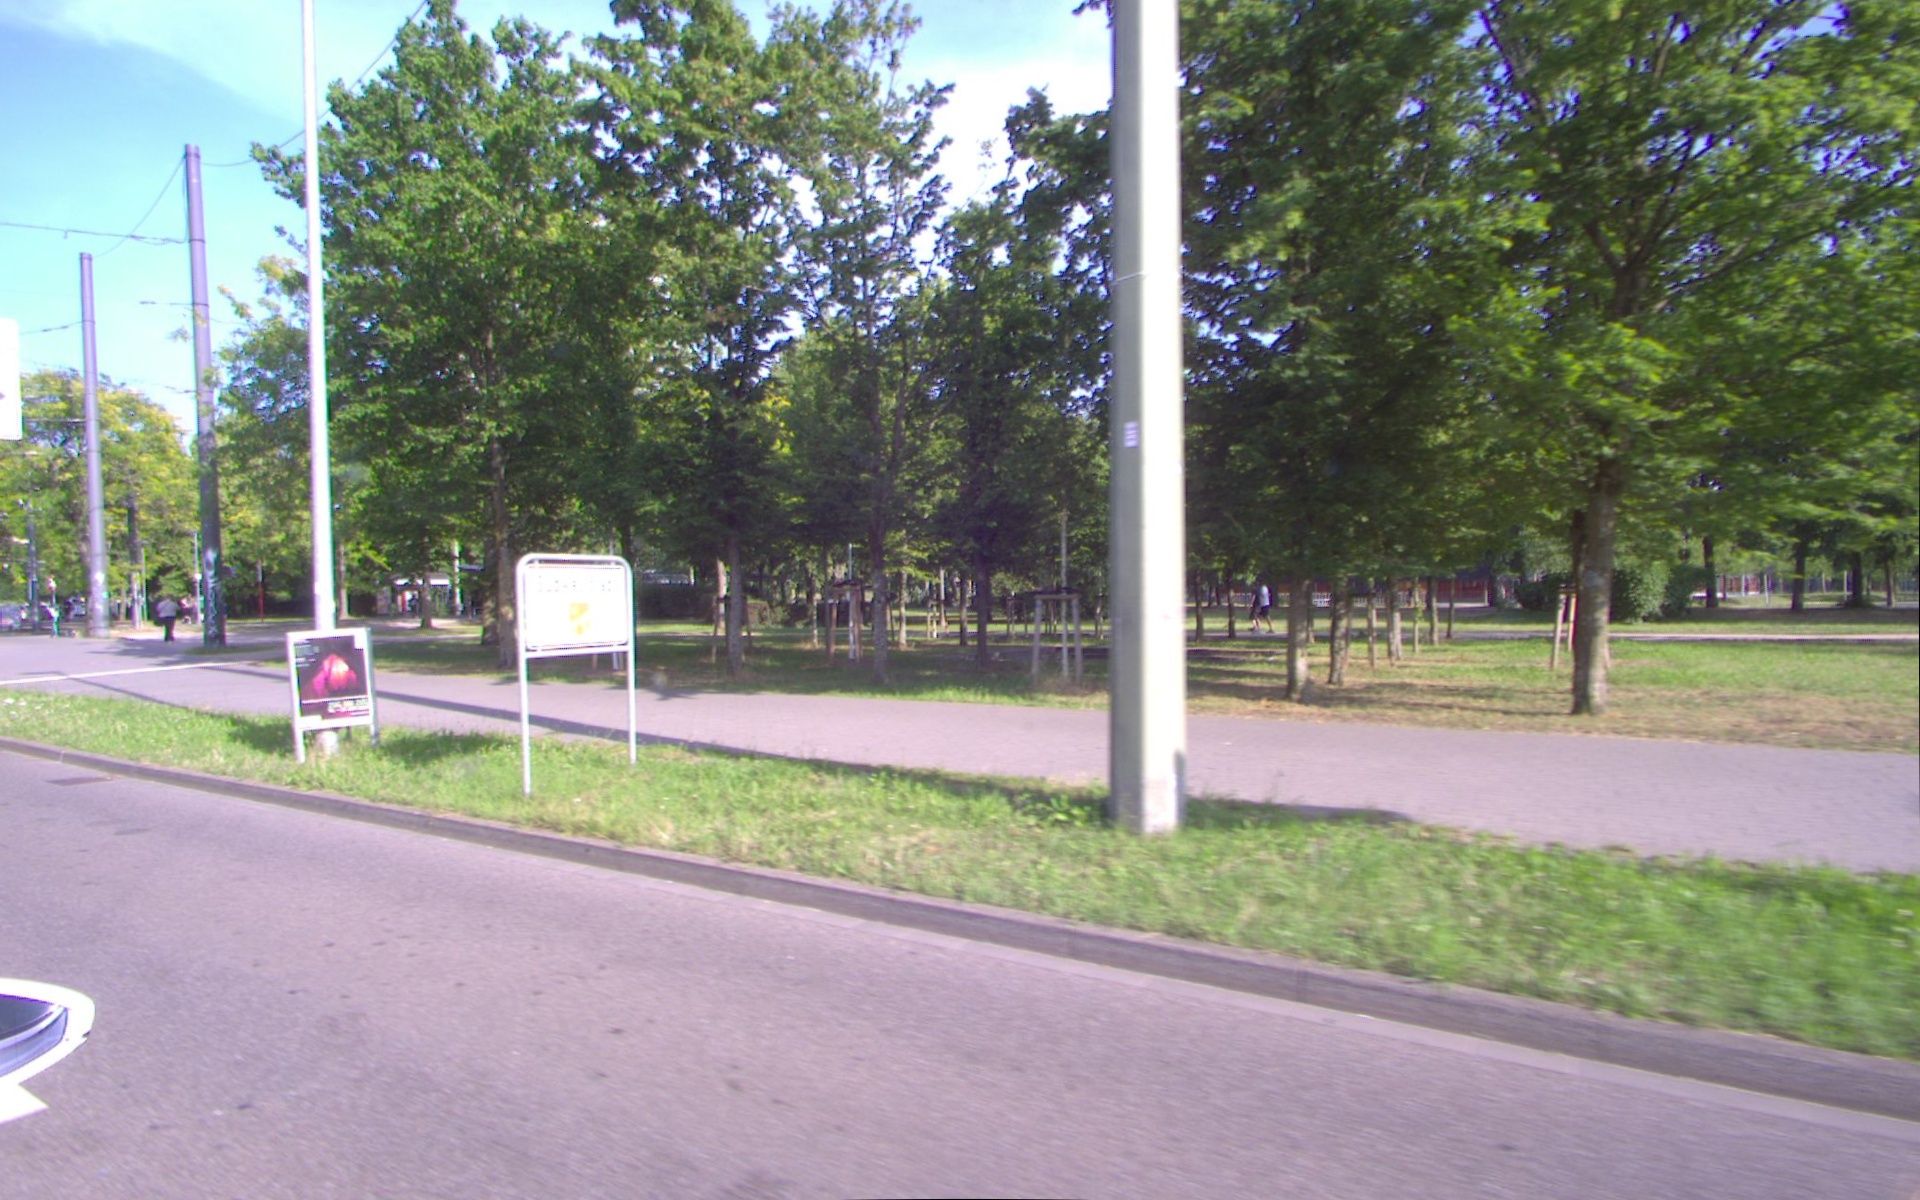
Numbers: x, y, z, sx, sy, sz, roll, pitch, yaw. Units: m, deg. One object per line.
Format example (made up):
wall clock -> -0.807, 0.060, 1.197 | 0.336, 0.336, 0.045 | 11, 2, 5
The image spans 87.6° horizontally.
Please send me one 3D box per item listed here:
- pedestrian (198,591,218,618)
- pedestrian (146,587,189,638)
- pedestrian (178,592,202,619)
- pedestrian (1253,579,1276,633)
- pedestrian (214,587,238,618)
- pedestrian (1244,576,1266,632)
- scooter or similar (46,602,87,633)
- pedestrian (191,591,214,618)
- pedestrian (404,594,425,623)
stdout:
pedestrian -> -42.217, 0.262, 56.244 | 0.805, 1.508, 0.696 | -2, 2, -33
pedestrian -> -26.493, 0.407, 33.482 | 0.793, 1.659, 0.754 | -1, 1, -7
pedestrian -> -43.257, 0.316, 56.254 | 0.687, 1.508, 0.815 | -1, 1, -9
pedestrian -> 10.364, 0.207, 34.109 | 0.617, 1.836, 0.502 | -1, 1, 3
pedestrian -> -42.490, 0.143, 57.972 | 0.826, 1.809, 0.799 | 0, 1, 28
pedestrian -> 9.884, 0.137, 33.562 | 0.617, 1.836, 0.502 | -1, 2, 6
scooter or similar -> -33.670, 0.661, 37.735 | 1.305, 1.132, 0.420 | -1, 1, 12
pedestrian -> -43.328, 0.268, 57.280 | 0.688, 1.508, 0.813 | 0, 1, 21
pedestrian -> -32.409, 0.494, 59.508 | 0.792, 1.659, 0.833 | 0, 2, 38
